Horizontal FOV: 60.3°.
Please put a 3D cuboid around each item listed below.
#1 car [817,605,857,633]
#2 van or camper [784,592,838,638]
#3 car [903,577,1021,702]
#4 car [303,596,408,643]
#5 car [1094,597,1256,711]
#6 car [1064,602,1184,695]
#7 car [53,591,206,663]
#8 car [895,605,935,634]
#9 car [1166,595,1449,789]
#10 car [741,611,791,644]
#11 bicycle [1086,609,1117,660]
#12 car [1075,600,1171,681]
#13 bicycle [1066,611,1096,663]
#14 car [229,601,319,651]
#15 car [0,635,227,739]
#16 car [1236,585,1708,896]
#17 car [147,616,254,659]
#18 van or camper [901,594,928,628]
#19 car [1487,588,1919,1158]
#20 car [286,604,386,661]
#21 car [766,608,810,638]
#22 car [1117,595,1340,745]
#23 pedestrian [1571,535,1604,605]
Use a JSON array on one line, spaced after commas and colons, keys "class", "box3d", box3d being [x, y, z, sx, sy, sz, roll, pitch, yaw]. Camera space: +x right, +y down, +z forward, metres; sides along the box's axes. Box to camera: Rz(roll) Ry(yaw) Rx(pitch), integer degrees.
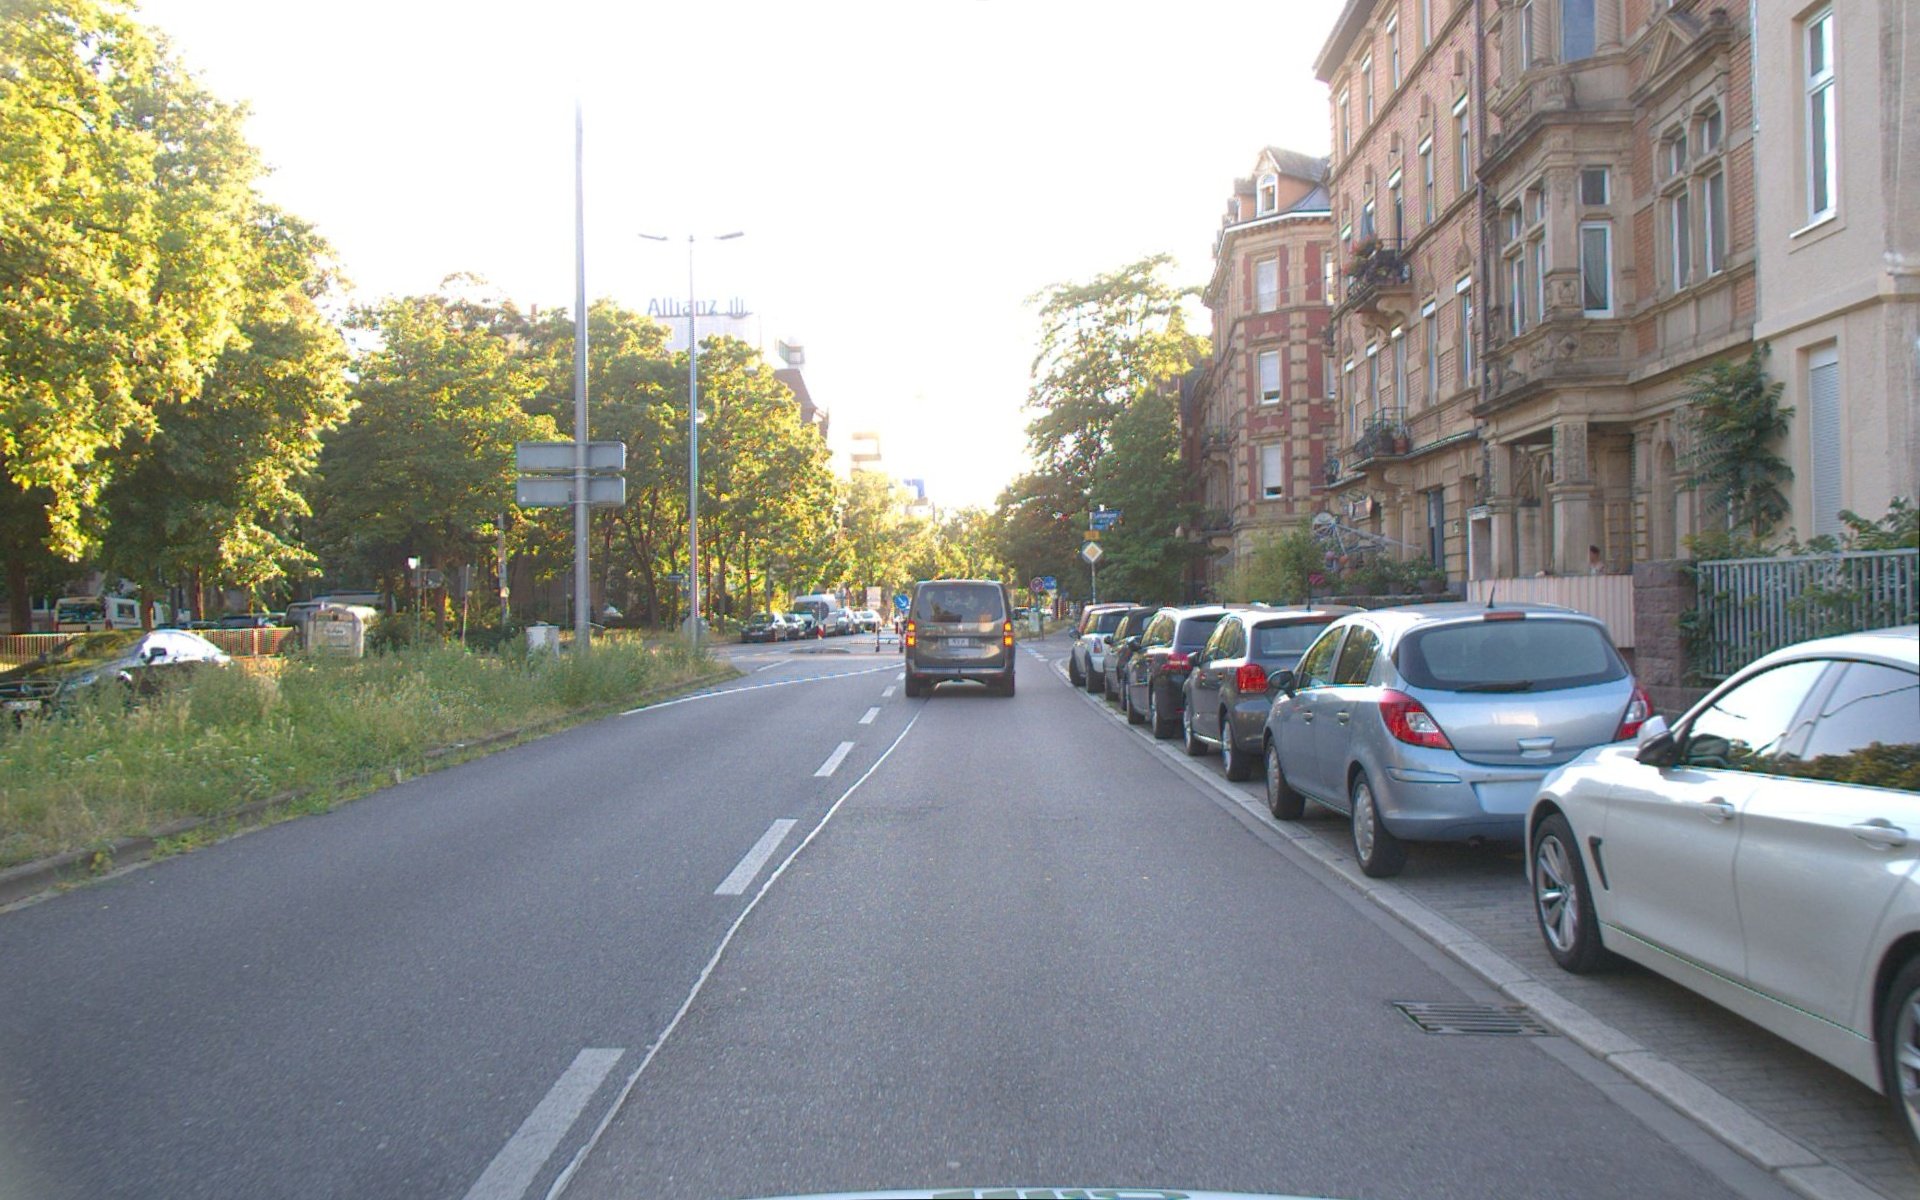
[{"class": "car", "box3d": [-7.682, 1.164, 103.664, 1.826, 1.673, 4.573, -2, 0, 4]}, {"class": "van or camper", "box3d": [-8.627, 0.838, 96.419, 2.047, 2.511, 6.309, -2, 0, 4]}, {"class": "car", "box3d": [0.021, 0.638, 28.515, 1.849, 1.958, 3.839, -1, 0, 0]}, {"class": "car", "box3d": [-34.203, 1.073, 93.667, 2.230, 2.529, 5.210, -1, 0, 38]}, {"class": "car", "box3d": [3.185, 0.760, 25.291, 1.849, 1.451, 4.342, -4, 0, 0]}, {"class": "car", "box3d": [2.886, 0.828, 29.788, 1.643, 1.451, 3.676, -4, 0, -1]}, {"class": "car", "box3d": [-28.061, 0.888, 56.121, 2.168, 2.329, 5.102, 0, 0, 7]}, {"class": "car", "box3d": [-2.868, 1.257, 106.876, 1.837, 1.735, 4.570, -4, -1, 7]}, {"class": "car", "box3d": [3.067, 0.755, 15.380, 1.712, 1.451, 3.840, -4, 0, 0]}, {"class": "car", "box3d": [-9.654, 1.350, 82.627, 1.589, 1.533, 4.546, -1, 0, 5]}, {"class": "bicycle", "box3d": [3.825, 0.940, 44.746, 0.554, 1.297, 2.264, -5, -2, 0]}, {"class": "car", "box3d": [3.362, 0.814, 34.666, 1.691, 1.490, 3.547, -4, 0, 2]}, {"class": "bicycle", "box3d": [3.261, 1.013, 44.740, 0.554, 1.321, 2.264, -5, -2, 0]}, {"class": "car", "box3d": [-27.877, 1.037, 67.354, 1.952, 1.915, 4.000, 1, 0, 1]}, {"class": "car", "box3d": [-13.068, 1.284, 25.381, 1.738, 1.295, 4.008, -4, 0, 1]}, {"class": "car", "box3d": [3.034, 0.750, 10.685, 1.666, 1.513, 3.891, -4, 0, -1]}, {"class": "car", "box3d": [-25.363, 1.240, 55.361, 1.697, 1.355, 4.000, 0, 0, 1]}, {"class": "van or camper", "box3d": [-3.717, 0.906, 135.716, 1.952, 2.715, 6.039, 1, 0, 1]}, {"class": "car", "box3d": [3.330, 0.710, 5.345, 1.693, 1.409, 4.642, -4, 0, 0]}, {"class": "car", "box3d": [-20.785, 1.057, 55.225, 1.781, 1.826, 4.000, 0, 0, 1]}, {"class": "car", "box3d": [-9.194, 1.217, 88.658, 1.594, 1.454, 4.244, -2, 0, 4]}, {"class": "car", "box3d": [3.096, 0.762, 19.977, 1.849, 1.473, 4.463, -4, 0, 0]}, {"class": "pedestrian", "box3d": [9.503, -0.444, 25.045, 0.395, 1.047, 0.319, 1, -1, 33]}]
